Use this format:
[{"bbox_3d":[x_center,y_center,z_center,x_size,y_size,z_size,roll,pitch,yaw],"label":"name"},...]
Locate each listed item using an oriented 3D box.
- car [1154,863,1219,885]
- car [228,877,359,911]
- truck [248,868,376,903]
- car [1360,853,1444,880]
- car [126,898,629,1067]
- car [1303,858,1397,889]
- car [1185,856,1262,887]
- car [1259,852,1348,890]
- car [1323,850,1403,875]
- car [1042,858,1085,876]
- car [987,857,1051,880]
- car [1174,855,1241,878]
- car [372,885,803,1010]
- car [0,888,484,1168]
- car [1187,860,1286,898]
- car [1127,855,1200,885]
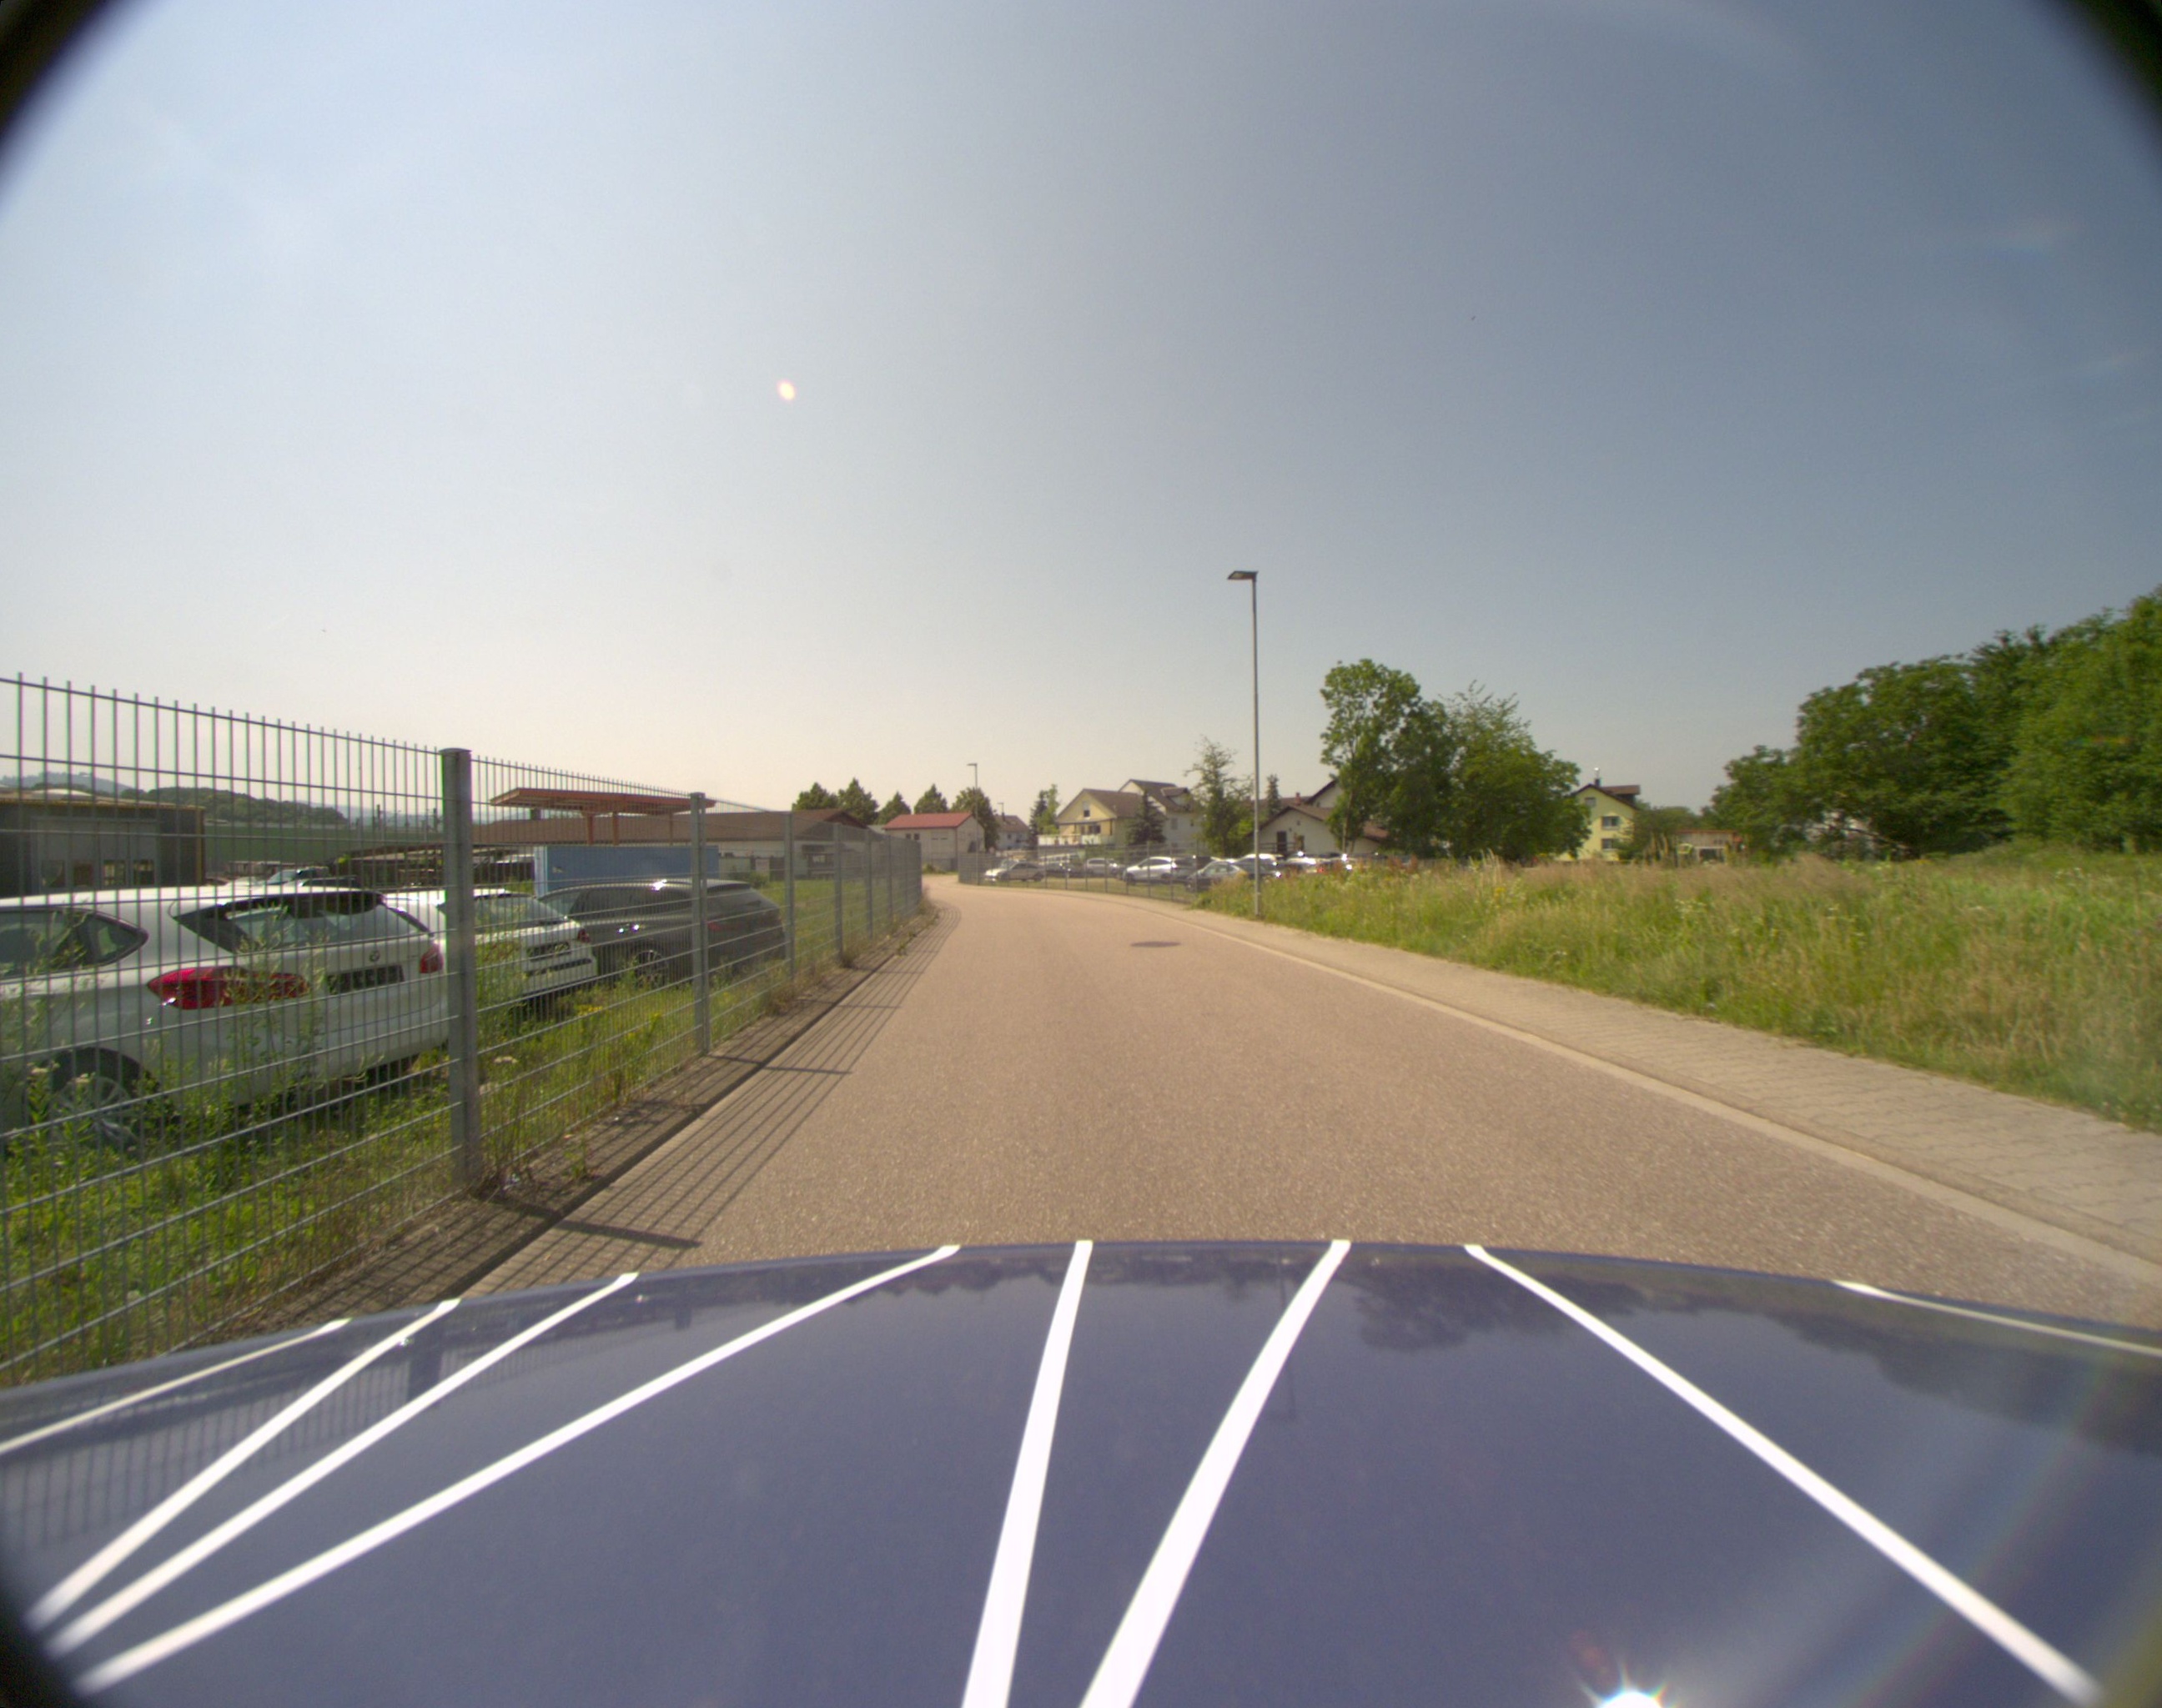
[{"bbox_3d":[6.309,1.185,45.795,1.585,1.239,3.636,-1,0,-44],"label":"car"},{"bbox_3d":[-37.821,1.911,36.636,1.672,1.379,4.005,-1,1,17],"label":"car"},{"bbox_3d":[-44.760,1.811,44.379,2.056,1.787,4.807,-1,0,19],"label":"truck"},{"bbox_3d":[18.574,0.690,44.081,2.004,1.489,3.988,-1,0,-44],"label":"car"},{"bbox_3d":[-6.552,1.132,7.303,3.472,1.310,1.642,-1,0,6],"label":"car"},{"bbox_3d":[13.512,0.947,38.307,2.004,1.489,3.988,-1,0,-44],"label":"car"},{"bbox_3d":[7.028,0.852,37.741,1.585,1.411,3.452,-1,0,-44],"label":"car"},{"bbox_3d":[9.916,0.741,34.027,1.585,1.574,3.452,-1,0,-44],"label":"car"},{"bbox_3d":[15.720,0.460,42.397,1.824,1.309,3.735,-2,1,-44],"label":"car"},{"bbox_3d":[-1.604,1.149,67.974,1.824,1.455,3.673,-2,1,-44],"label":"car"},{"bbox_3d":[-4.540,1.027,55.163,4.395,1.561,1.823,-2,1,-12],"label":"car"},{"bbox_3d":[8.437,0.834,50.889,2.004,1.489,3.988,-1,0,-44],"label":"car"},{"bbox_3d":[-5.988,1.100,9.493,4.384,1.310,1.720,-1,0,6],"label":"car"},{"bbox_3d":[-6.120,0.975,4.796,3.474,1.409,1.516,-1,0,0],"label":"car"},{"bbox_3d":[6.028,0.926,30.035,1.584,1.326,4.395,-1,0,-24],"label":"car"},{"bbox_3d":[4.333,0.828,40.352,1.585,1.481,3.636,-1,0,-44],"label":"car"}]
